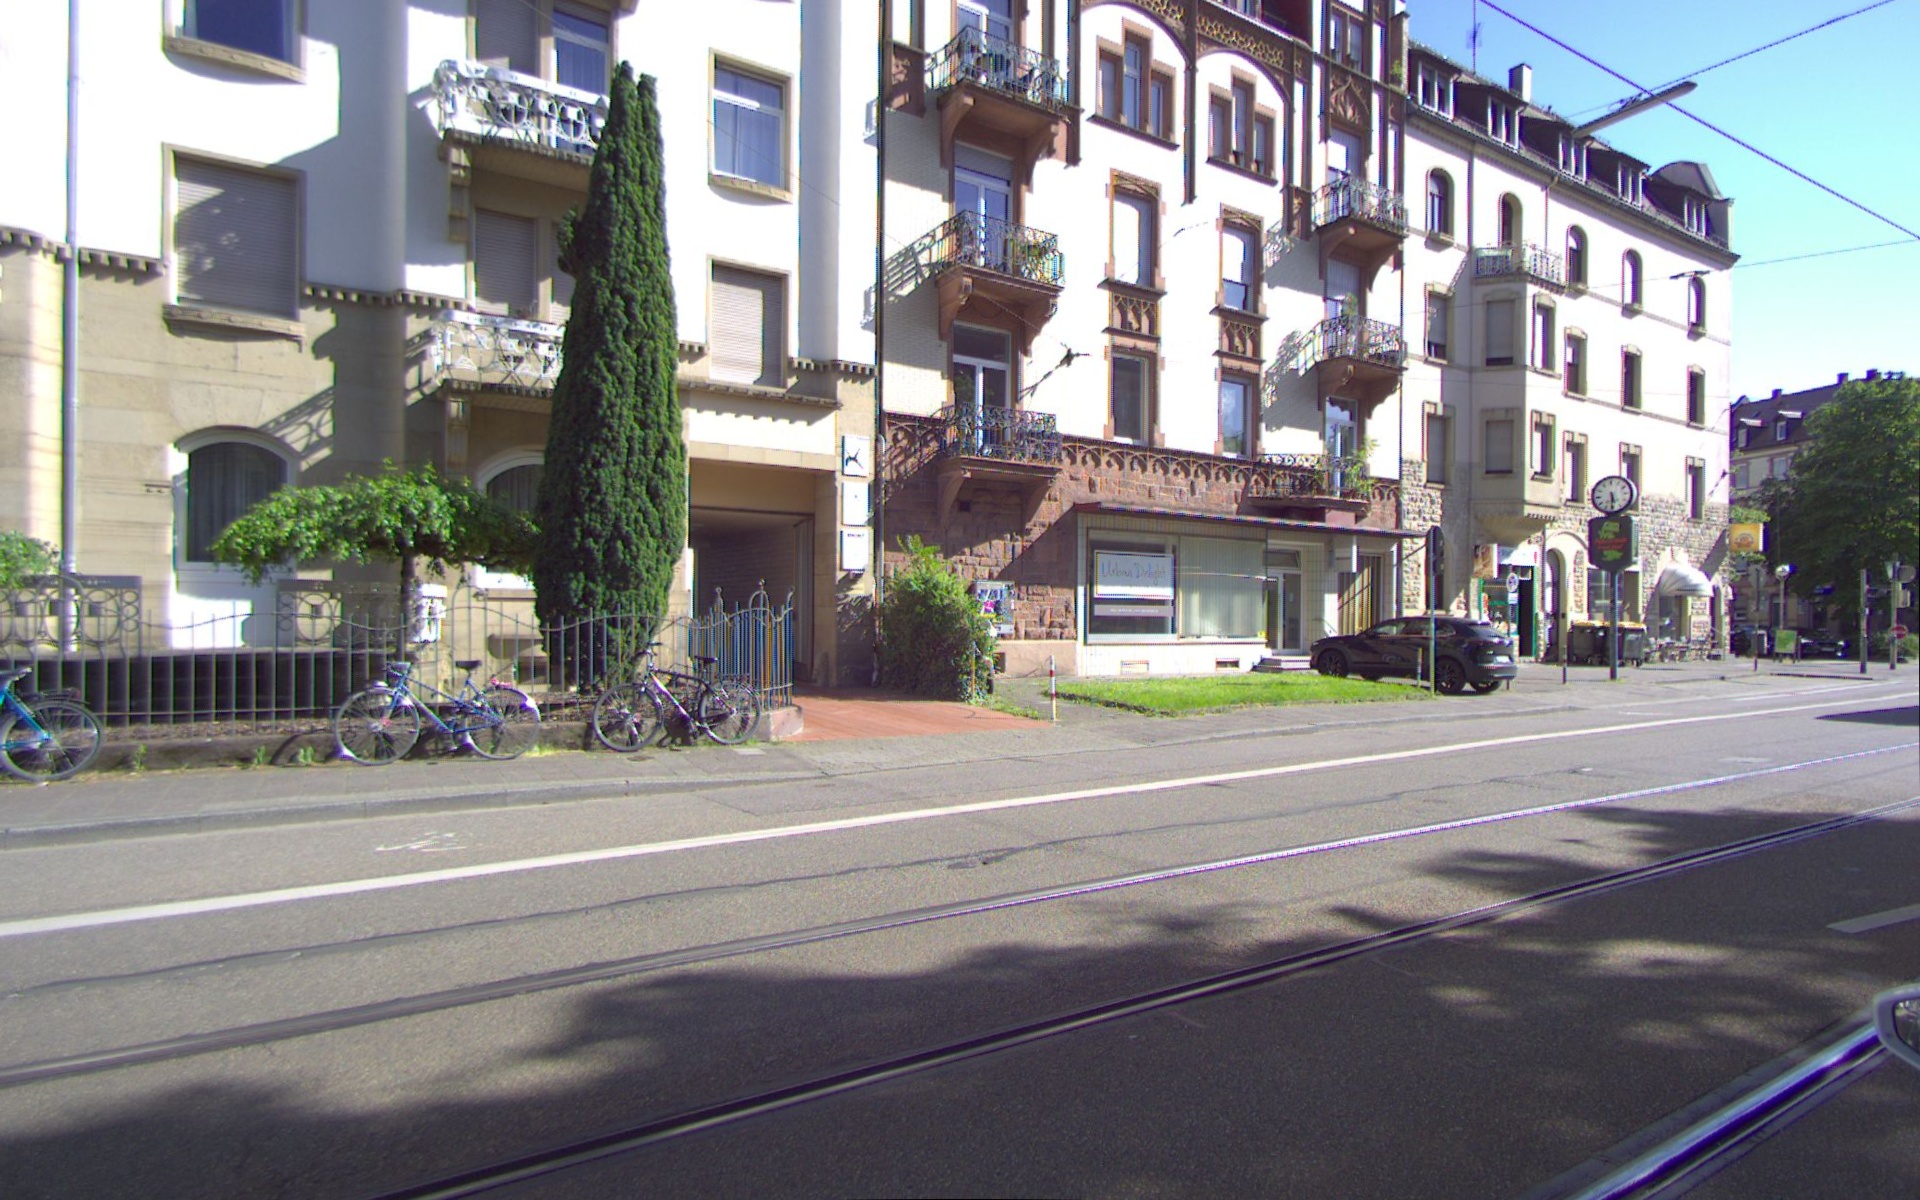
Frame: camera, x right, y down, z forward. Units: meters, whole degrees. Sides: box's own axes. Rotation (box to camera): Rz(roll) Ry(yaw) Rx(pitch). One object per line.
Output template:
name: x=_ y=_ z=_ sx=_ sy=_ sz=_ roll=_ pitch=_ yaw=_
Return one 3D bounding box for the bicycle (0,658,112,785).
bicycle: x=-7.709 y=0.936 z=7.739 sx=1.728 sy=0.955 sz=0.402 roll=2 pitch=0 yaw=-31

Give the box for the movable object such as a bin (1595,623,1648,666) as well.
movable object such as a bin: x=20.688 y=1.393 z=31.424 sx=1.128 sy=1.290 sz=0.942 roll=2 pitch=0 yaw=-26

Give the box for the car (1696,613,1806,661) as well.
car: x=37.062 y=1.690 z=47.200 sx=1.961 sy=2.040 sz=3.999 roll=2 pitch=0 yaw=-1

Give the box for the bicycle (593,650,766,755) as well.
bicycle: x=-3.007 y=1.077 z=10.846 sx=1.728 sy=1.053 sz=0.402 roll=2 pitch=0 yaw=-31

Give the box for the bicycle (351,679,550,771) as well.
bicycle: x=-4.763 y=1.148 z=9.460 sx=1.633 sy=0.772 sz=0.316 roll=2 pitch=0 yaw=-31

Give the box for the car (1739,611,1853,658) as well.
car: x=39.310 y=1.584 z=47.376 sx=1.961 sy=2.040 sz=3.999 roll=2 pitch=0 yaw=-1

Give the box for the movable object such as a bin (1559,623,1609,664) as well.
movable object such as a bin: x=19.908 y=1.388 z=32.035 sx=1.228 sy=1.239 sz=0.829 roll=2 pitch=0 yaw=-28

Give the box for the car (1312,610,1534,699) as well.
car: x=9.858 y=1.096 z=21.653 sx=1.755 sy=1.523 sz=3.958 roll=2 pitch=1 yaw=-36

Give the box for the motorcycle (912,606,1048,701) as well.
motorcycle: x=0.272 y=0.882 z=17.628 sx=0.814 sy=1.476 sz=3.067 roll=2 pitch=0 yaw=-32
